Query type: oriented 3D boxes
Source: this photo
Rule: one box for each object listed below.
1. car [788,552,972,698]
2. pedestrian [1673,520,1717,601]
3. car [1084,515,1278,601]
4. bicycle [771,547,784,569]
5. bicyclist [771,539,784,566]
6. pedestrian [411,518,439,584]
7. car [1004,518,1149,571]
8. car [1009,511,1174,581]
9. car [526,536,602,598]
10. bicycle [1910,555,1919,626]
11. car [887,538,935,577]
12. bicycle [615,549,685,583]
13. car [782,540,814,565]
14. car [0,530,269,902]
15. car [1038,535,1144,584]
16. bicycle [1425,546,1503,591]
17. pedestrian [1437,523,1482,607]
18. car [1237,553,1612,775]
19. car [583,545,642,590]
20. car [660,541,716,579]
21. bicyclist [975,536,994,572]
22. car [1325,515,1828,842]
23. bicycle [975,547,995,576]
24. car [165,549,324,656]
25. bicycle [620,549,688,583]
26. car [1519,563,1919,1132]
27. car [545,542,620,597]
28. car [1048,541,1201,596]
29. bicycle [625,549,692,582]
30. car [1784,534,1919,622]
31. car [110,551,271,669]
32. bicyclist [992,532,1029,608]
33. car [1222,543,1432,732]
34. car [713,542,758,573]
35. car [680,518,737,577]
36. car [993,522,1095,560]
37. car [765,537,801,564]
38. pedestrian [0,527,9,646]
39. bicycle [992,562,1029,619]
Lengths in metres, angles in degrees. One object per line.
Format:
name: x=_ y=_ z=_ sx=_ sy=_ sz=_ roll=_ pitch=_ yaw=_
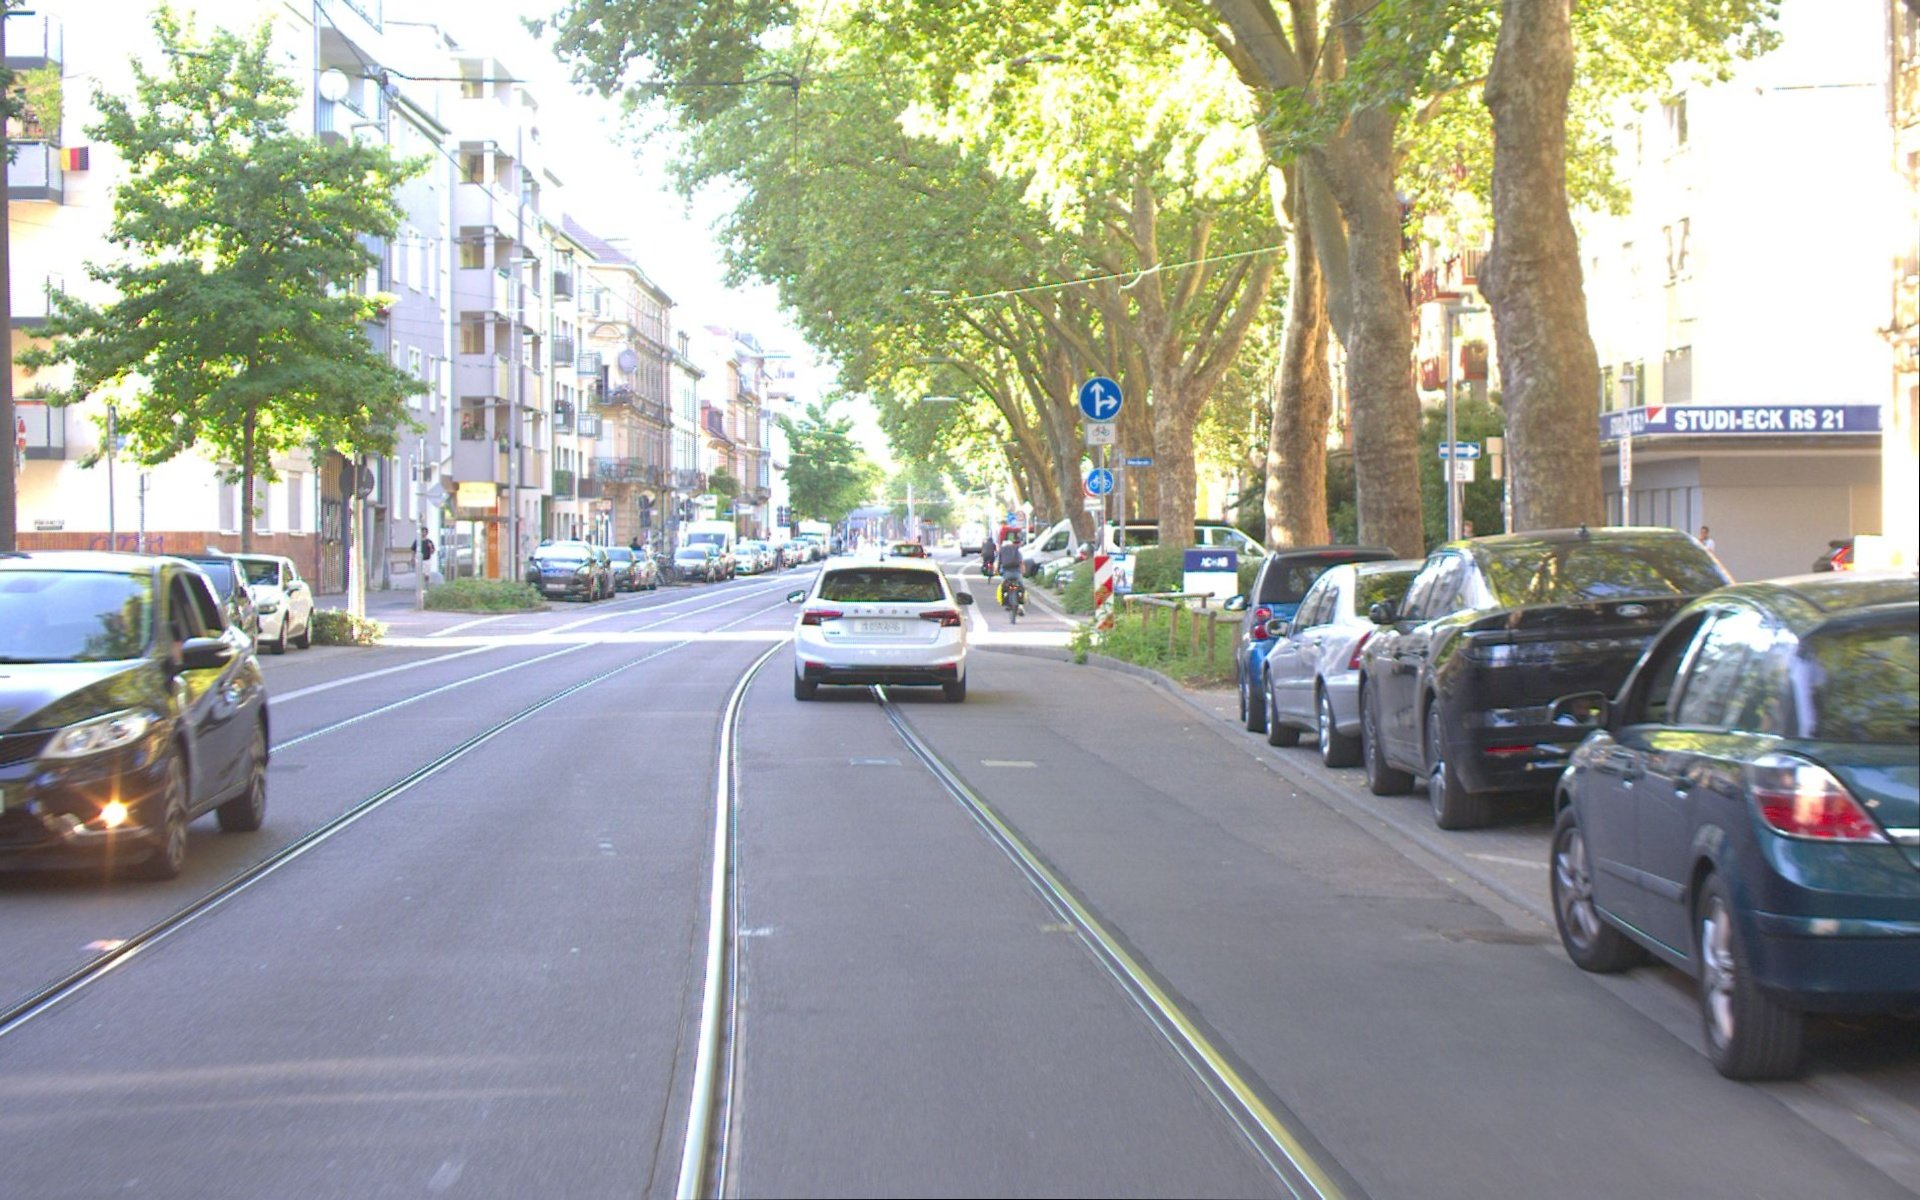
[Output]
car: x=-0.822 y=0.215 z=35.154 sx=1.761 sy=1.379 sz=4.000 roll=-1 pitch=1 yaw=-1
pedestrian: x=14.867 y=-0.796 z=69.540 sx=0.746 sy=1.639 sz=0.666 roll=0 pitch=1 yaw=1
car: x=5.393 y=-1.031 z=84.299 sx=4.543 sy=2.069 sz=2.001 roll=0 pitch=1 yaw=-2
bicycle: x=-8.920 y=-2.062 z=168.128 sx=0.605 sy=1.067 sz=1.583 roll=-1 pitch=1 yaw=-3
bicyclist: x=-8.919 y=-2.334 z=168.118 sx=0.597 sy=1.281 sz=0.917 roll=-1 pitch=1 yaw=-3
pedestrian: x=-14.875 y=-1.358 z=95.574 sx=0.663 sy=1.820 sz=0.965 roll=0 pitch=1 yaw=-2
car: x=5.058 y=-2.425 z=149.904 sx=6.130 sy=2.274 sz=2.529 roll=0 pitch=1 yaw=-2
car: x=5.009 y=-2.059 z=131.287 sx=6.130 sy=2.626 sz=2.529 roll=0 pitch=1 yaw=-2
car: x=-11.082 y=-0.951 z=96.330 sx=1.702 sy=1.645 sz=4.242 roll=2 pitch=1 yaw=-2
bicycle: x=15.231 y=-0.143 z=52.975 sx=0.582 sy=1.100 sz=1.923 roll=-2 pitch=1 yaw=-1
car: x=-1.855 y=-1.640 z=131.311 sx=1.761 sy=1.470 sz=4.000 roll=-1 pitch=1 yaw=0
bicycle: x=-11.639 y=-1.276 z=129.205 sx=2.525 sy=1.168 sz=0.883 roll=2 pitch=-1 yaw=-40
car: x=-11.084 y=-3.233 z=235.107 sx=1.993 sy=1.634 sz=4.000 roll=1 pitch=0 yaw=0
car: x=-4.518 y=0.458 z=16.793 sx=1.871 sy=1.584 sz=4.148 roll=0 pitch=1 yaw=-6
car: x=4.551 y=-1.400 z=119.043 sx=3.634 sy=1.661 sz=1.822 roll=0 pitch=1 yaw=2
bicycle: x=13.451 y=-0.843 z=91.739 sx=1.944 sy=1.153 sz=0.572 roll=-2 pitch=1 yaw=-7
pedestrian: x=11.195 y=-0.788 z=77.066 sx=0.766 sy=1.860 sz=1.189 roll=-1 pitch=1 yaw=-4
car: x=3.284 y=0.420 z=25.193 sx=1.816 sy=1.431 sz=4.603 roll=-2 pitch=0 yaw=-4
car: x=-11.322 y=-1.083 z=112.222 sx=1.653 sy=1.432 sz=3.837 roll=0 pitch=1 yaw=-2
car: x=-11.164 y=-1.651 z=141.232 sx=1.993 sy=1.525 sz=4.000 roll=0 pitch=1 yaw=0
bicyclist: x=0.920 y=-1.715 z=128.807 sx=0.649 sy=1.339 sz=0.934 roll=-1 pitch=1 yaw=-2
car: x=3.365 y=0.389 z=19.738 sx=1.857 sy=1.598 sz=4.782 roll=-2 pitch=0 yaw=-2
bicycle: x=0.928 y=-1.449 z=128.799 sx=0.649 sy=1.067 sz=1.583 roll=-1 pitch=1 yaw=-2
car: x=-10.739 y=0.009 z=51.876 sx=1.713 sy=1.459 sz=4.378 roll=3 pitch=0 yaw=-4
bicycle: x=-11.580 y=-1.286 z=130.087 sx=2.524 sy=1.168 sz=0.719 roll=2 pitch=-1 yaw=-6
car: x=3.054 y=0.623 z=11.103 sx=1.864 sy=1.432 sz=4.226 roll=-1 pitch=1 yaw=1
car: x=-11.107 y=-0.915 z=101.411 sx=1.702 sy=1.539 sz=4.242 roll=2 pitch=1 yaw=0
car: x=4.552 y=-0.885 z=95.518 sx=4.142 sy=1.509 sz=1.931 roll=0 pitch=1 yaw=-1
bicycle: x=-11.635 y=-1.336 z=132.811 sx=2.524 sy=1.168 sz=0.719 roll=2 pitch=-1 yaw=-5
car: x=17.384 y=-0.411 z=62.739 sx=4.130 sy=1.588 sz=2.000 roll=0 pitch=1 yaw=-5
car: x=-10.521 y=0.102 z=47.217 sx=1.713 sy=1.459 sz=4.001 roll=3 pitch=0 yaw=-7
bicyclist: x=0.962 y=-0.573 z=65.766 sx=0.678 sy=1.438 sz=1.047 roll=-1 pitch=1 yaw=1
car: x=3.127 y=0.306 z=29.731 sx=1.564 sy=1.514 sz=2.910 roll=-2 pitch=0 yaw=2
car: x=-11.307 y=-2.143 z=173.284 sx=1.993 sy=1.525 sz=4.000 roll=0 pitch=1 yaw=0
car: x=-11.154 y=-2.336 z=152.948 sx=2.178 sy=2.588 sz=4.949 roll=0 pitch=1 yaw=0
car: x=5.113 y=-3.601 z=210.123 sx=6.130 sy=2.274 sz=2.529 roll=0 pitch=1 yaw=-2
car: x=-10.782 y=-2.999 z=209.276 sx=1.993 sy=1.634 sz=4.000 roll=1 pitch=0 yaw=0
pedestrian: x=-13.872 y=-0.192 z=48.578 sx=0.663 sy=1.685 sz=0.749 roll=0 pitch=1 yaw=-2
bicycle: x=0.968 y=-0.189 z=65.780 sx=0.681 sy=1.067 sz=1.781 roll=-1 pitch=1 yaw=0
